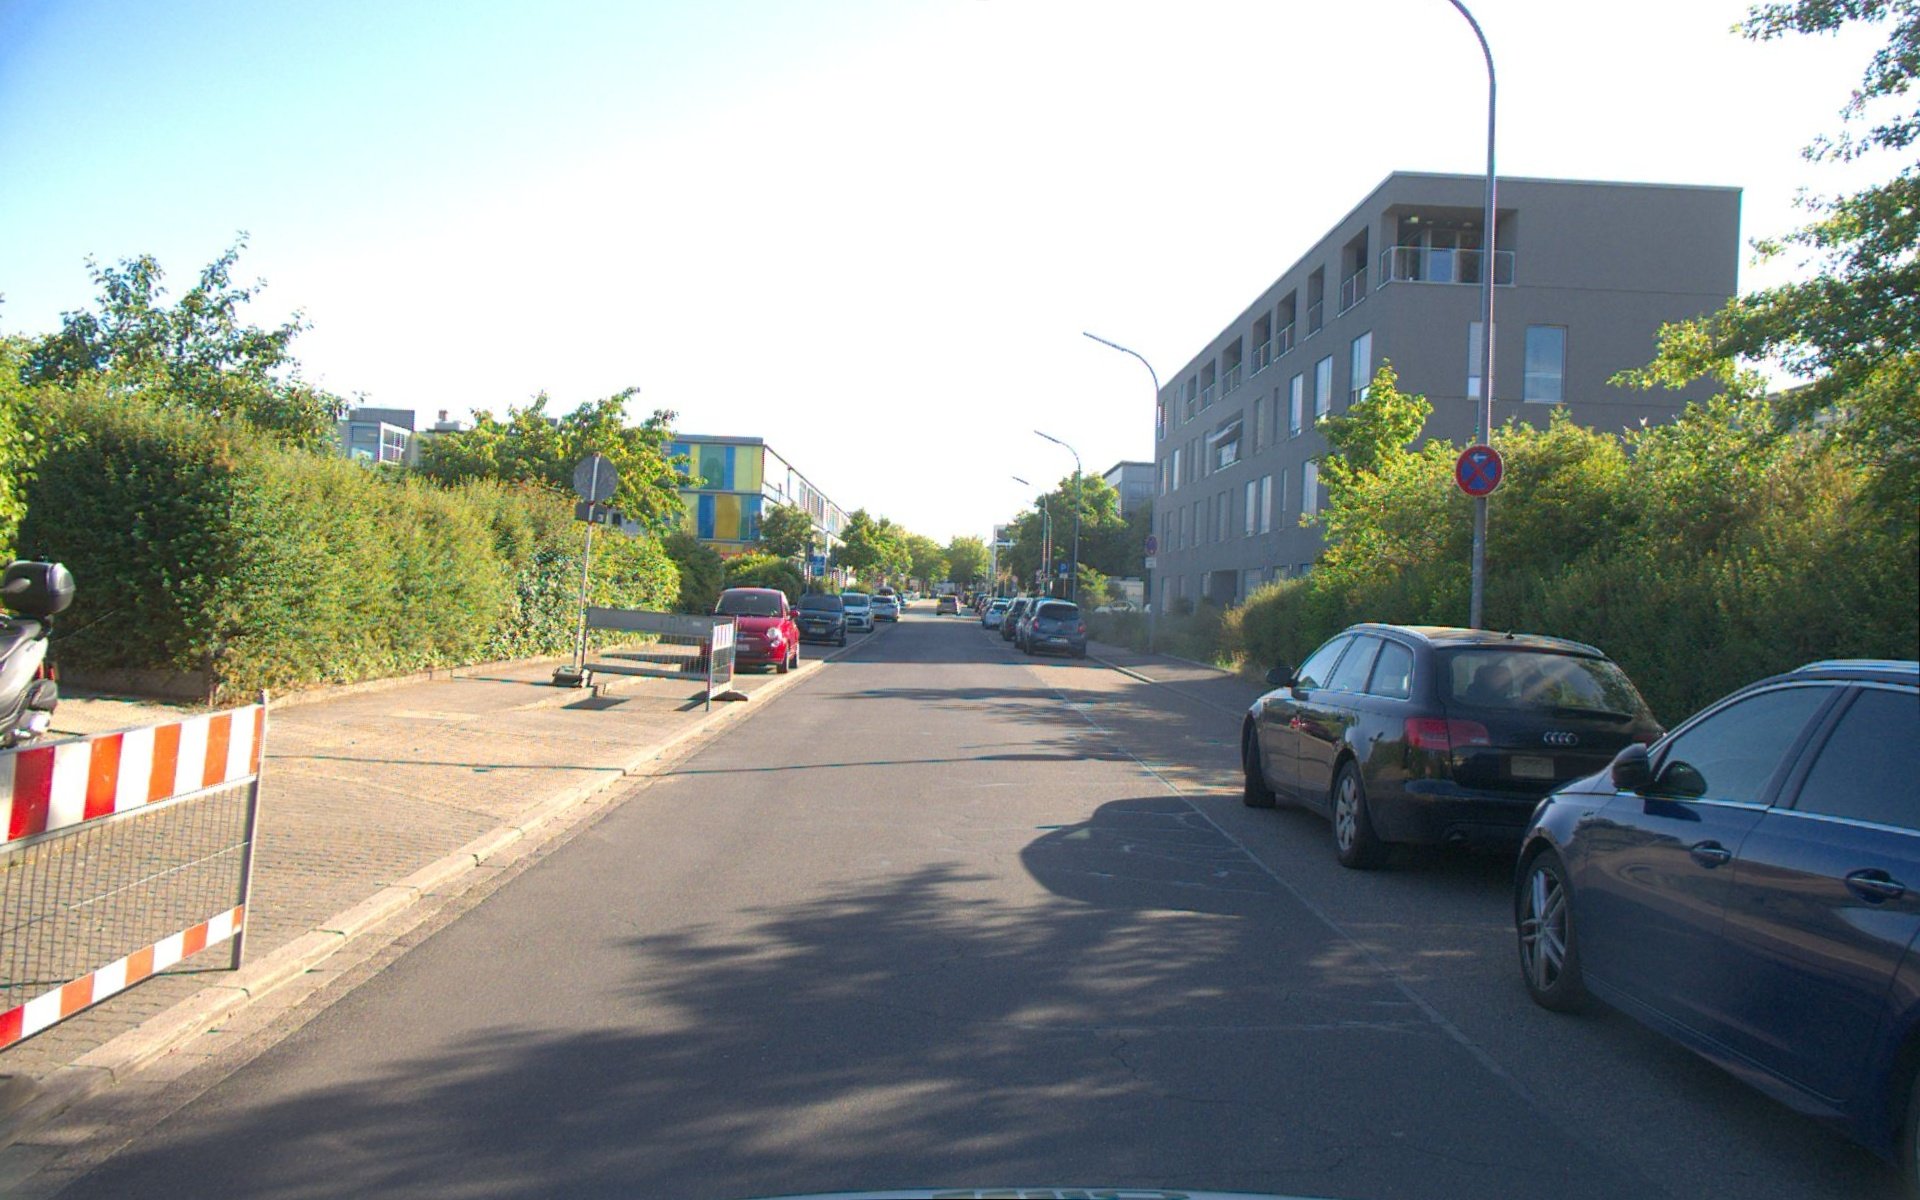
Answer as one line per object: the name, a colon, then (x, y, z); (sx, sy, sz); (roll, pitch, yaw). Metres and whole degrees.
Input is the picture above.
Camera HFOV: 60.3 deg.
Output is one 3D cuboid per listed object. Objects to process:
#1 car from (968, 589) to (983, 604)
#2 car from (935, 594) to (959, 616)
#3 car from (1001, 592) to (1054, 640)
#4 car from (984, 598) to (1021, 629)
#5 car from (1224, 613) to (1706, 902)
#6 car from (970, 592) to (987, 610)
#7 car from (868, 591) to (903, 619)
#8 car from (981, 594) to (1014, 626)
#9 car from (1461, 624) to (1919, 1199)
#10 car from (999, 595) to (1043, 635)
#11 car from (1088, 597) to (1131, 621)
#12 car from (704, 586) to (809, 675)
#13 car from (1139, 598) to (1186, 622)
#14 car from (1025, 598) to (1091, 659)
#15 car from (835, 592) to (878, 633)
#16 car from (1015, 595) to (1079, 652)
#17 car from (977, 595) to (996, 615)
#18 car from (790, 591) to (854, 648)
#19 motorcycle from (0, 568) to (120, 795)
car: (1.711, -0.398, 182.648); (1.416, 1.576, 3.613); (3, 0, -2)
car: (-0.989, 0.363, 123.951); (1.655, 1.576, 3.613); (3, 0, -2)
car: (2.522, 0.594, 62.674); (1.706, 1.653, 4.178); (3, 0, -1)
car: (2.197, 0.694, 86.608); (1.706, 1.453, 4.133); (3, 0, -1)
car: (3.185, 0.897, 11.514); (1.719, 1.438, 4.654); (4, 0, -2)
car: (1.717, 0.085, 157.239); (1.416, 1.576, 3.613); (3, 0, -2)
car: (-4.284, 0.286, 95.336); (1.817, 1.453, 4.133); (3, 0, -1)
car: (2.072, 0.536, 92.616); (1.599, 1.658, 3.613); (3, 0, -2)
car: (3.173, 0.907, 5.174); (1.621, 1.470, 4.655); (4, 0, -1)
car: (2.632, 0.625, 71.671); (1.623, 1.578, 3.850); (3, 0, -1)
car: (11.326, 0.678, 125.595); (3.149, 1.576, 1.450); (3, 0, 2)
car: (-3.729, 0.534, 30.819); (1.528, 1.521, 3.570); (1, 0, -1)
car: (14.348, 0.716, 117.484); (3.149, 1.486, 1.450); (3, 0, 2)
car: (2.748, 0.766, 47.095); (1.589, 1.553, 3.901); (4, 0, 0)
car: (-4.108, 0.481, 66.077); (1.528, 1.521, 3.758); (1, 0, -1)
car: (2.726, 0.705, 52.595); (1.643, 1.636, 4.177); (4, 0, -2)
car: (2.269, 0.434, 141.244); (1.416, 1.576, 3.613); (3, 0, -2)
car: (-4.054, 0.554, 49.032); (1.528, 1.520, 3.570); (4, 0, -1)
motorcycle: (-5.754, 0.455, 9.805); (0.555, 1.290, 2.089); (3, -1, -5)
